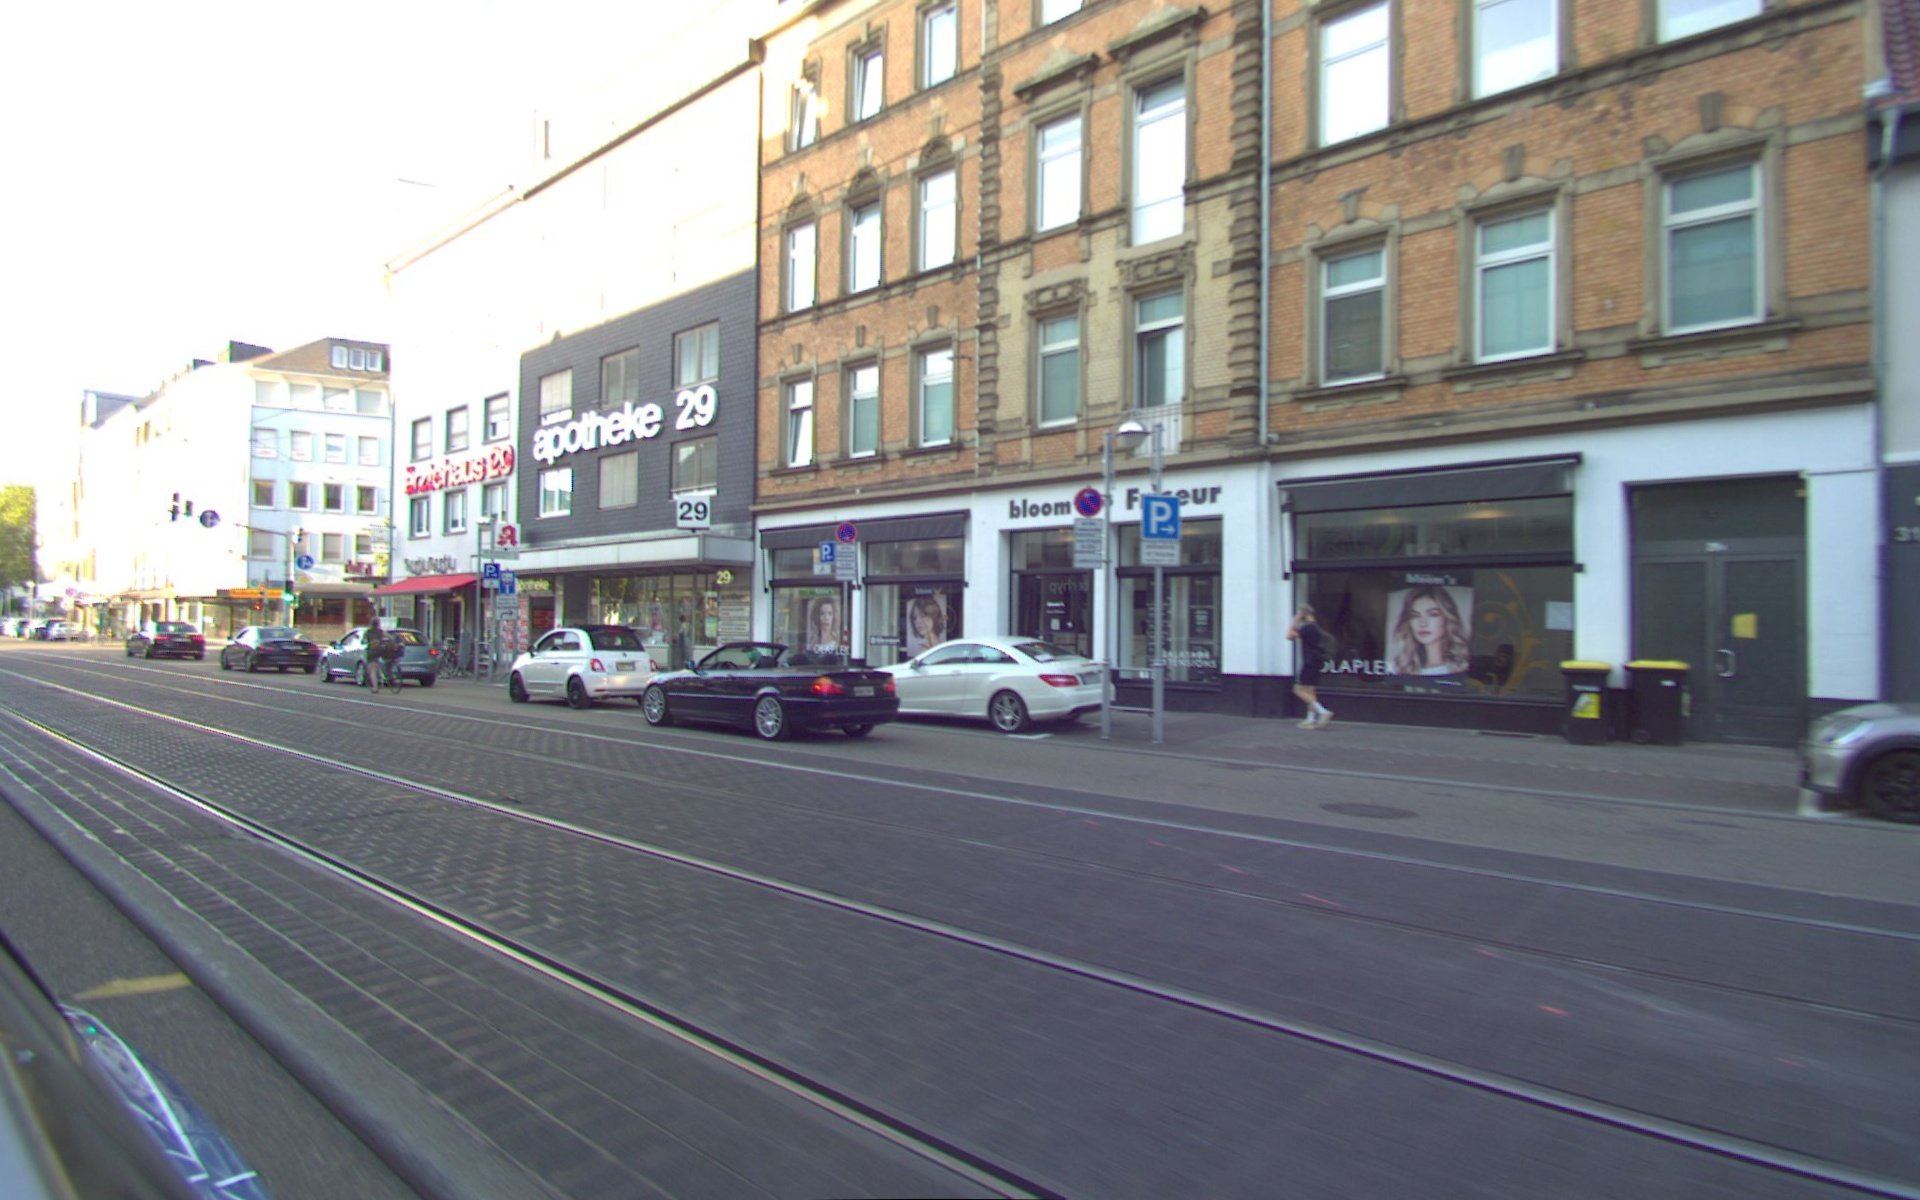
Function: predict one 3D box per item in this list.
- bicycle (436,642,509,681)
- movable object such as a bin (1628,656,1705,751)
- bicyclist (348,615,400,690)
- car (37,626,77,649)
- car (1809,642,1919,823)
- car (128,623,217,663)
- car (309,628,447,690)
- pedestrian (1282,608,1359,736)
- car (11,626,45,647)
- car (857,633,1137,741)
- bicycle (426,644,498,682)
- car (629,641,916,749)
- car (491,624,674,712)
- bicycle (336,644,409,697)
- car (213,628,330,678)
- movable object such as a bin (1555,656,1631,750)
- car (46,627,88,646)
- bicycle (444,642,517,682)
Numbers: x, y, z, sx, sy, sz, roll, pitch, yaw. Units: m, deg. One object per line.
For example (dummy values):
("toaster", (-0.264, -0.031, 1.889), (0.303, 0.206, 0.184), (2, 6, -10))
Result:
("bicycle", (-14.021, 1.761, 29.148), (0.462, 0.991, 1.837), (-1, 0, 41))
("movable object such as a bin", (8.968, 1.290, 12.842), (0.728, 1.140, 0.584), (-1, -3, 42))
("bicyclist", (-12.544, 1.107, 21.664), (0.798, 1.577, 0.686), (-1, -2, 40))
("car", (-65.813, 2.711, 73.760), (4.001, 1.648, 1.822), (-1, -3, 44))
("car", (9.387, 1.107, 8.138), (3.863, 1.400, 1.716), (-1, 0, 42))
("car", (-30.479, 1.637, 39.129), (4.562, 1.397, 1.894), (-1, -5, 42))
("car", (-14.571, 1.440, 25.252), (4.060, 1.397, 1.739), (-1, -5, 42))
("pedestrian", (5.223, 1.010, 14.662), (0.854, 1.786, 0.641), (-1, -1, 42))
("car", (-76.537, 2.969, 83.093), (4.001, 1.648, 1.822), (-1, -3, 44))
("car", (0.490, 1.270, 16.082), (4.269, 1.400, 1.742), (-1, 0, 39))
("bicycle", (-14.584, 1.827, 29.650), (0.492, 0.991, 1.837), (-1, 0, 41))
("car", (-2.751, 1.262, 14.284), (4.271, 1.237, 1.649), (-1, -5, 41))
("car", (-7.259, 1.257, 19.322), (3.678, 1.517, 1.649), (-1, -5, 41))
("bicycle", (-12.614, 1.492, 21.700), (2.080, 1.042, 0.686), (-1, -2, 40))
("car", (-21.410, 1.621, 31.402), (4.562, 1.397, 1.894), (-1, -5, 42))
("movable object such as a bin", (8.138, 1.302, 13.013), (0.728, 1.140, 0.584), (-1, -3, 42))
("car", (-62.453, 2.530, 70.760), (4.001, 1.304, 1.822), (-1, -2, 44))
("bicycle", (-13.632, 1.744, 28.810), (0.462, 0.991, 1.837), (-1, 0, 41))
